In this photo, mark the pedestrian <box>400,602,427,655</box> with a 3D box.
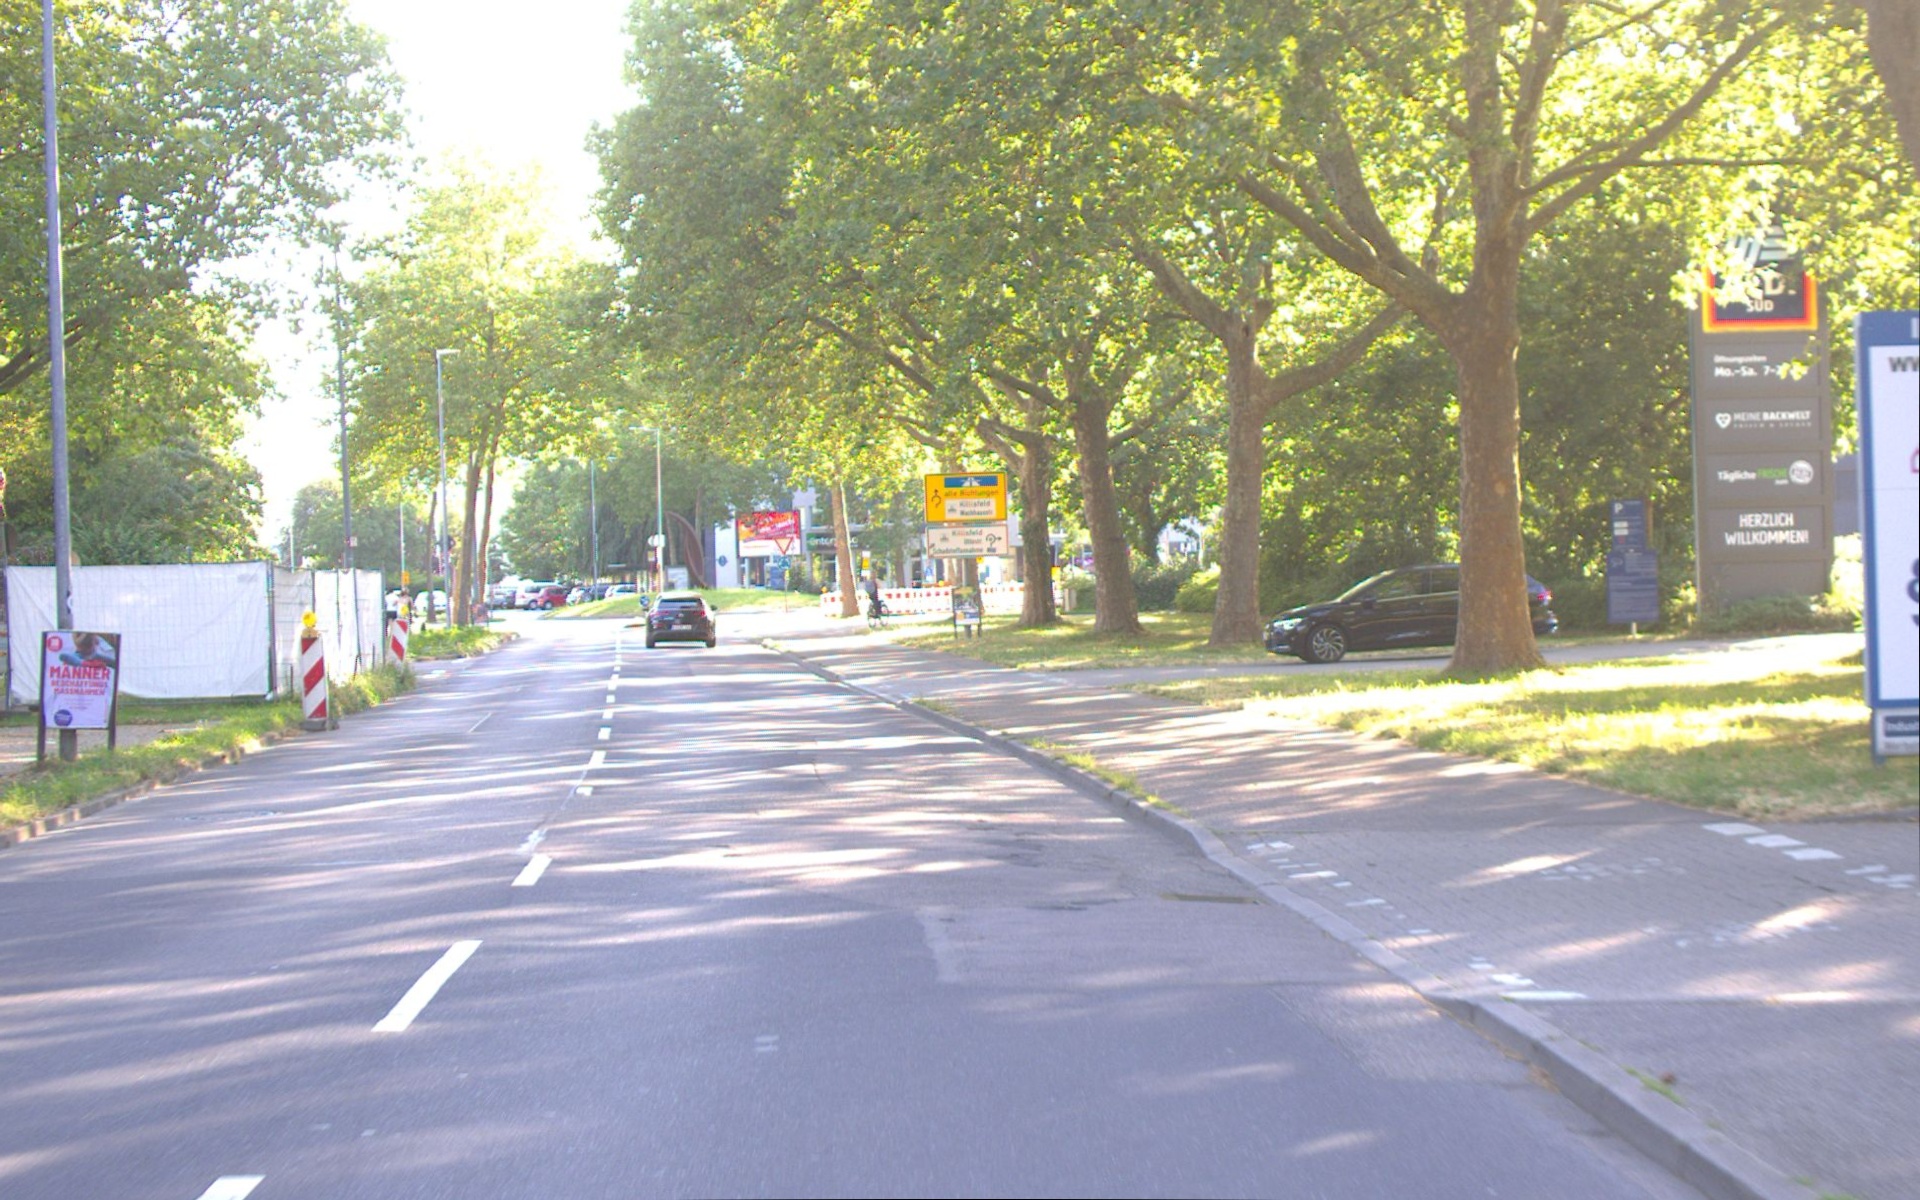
[{"bbox_3d":[-18.174,0.936,114.344,0.748,1.733,0.852,-2,0,-3],"label":"pedestrian"}]

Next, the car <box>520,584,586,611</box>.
[{"bbox_3d":[-27.148,-0.163,229.123,3.987,1.741,1.795,0,0,-35],"label":"car"}]

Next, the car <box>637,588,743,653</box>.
[{"bbox_3d":[-7.018,0.522,89.737,1.840,1.600,3.861,-3,0,9],"label":"car"}]

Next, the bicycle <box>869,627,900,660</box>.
[{"bbox_3d":[-2.383,1.367,108.173,0.770,0.961,2.174,-3,0,-6],"label":"bicycle"}]

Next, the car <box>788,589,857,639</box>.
[{"bbox_3d":[-5.828,0.575,146.016,1.994,2.007,3.998,-2,0,11],"label":"car"}]

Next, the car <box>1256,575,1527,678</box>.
[{"bbox_3d":[6.813,0.416,54.555,3.986,1.438,1.761,-3,0,-2],"label":"car"}]

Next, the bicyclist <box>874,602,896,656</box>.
[{"bbox_3d":[-2.359,0.916,108.193,0.651,1.699,0.871,0,0,-5],"label":"bicyclist"}]

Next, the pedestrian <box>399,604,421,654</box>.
[{"bbox_3d":[-18.169,0.961,113.496,0.632,1.632,0.576,-2,0,-4],"label":"pedestrian"}]
